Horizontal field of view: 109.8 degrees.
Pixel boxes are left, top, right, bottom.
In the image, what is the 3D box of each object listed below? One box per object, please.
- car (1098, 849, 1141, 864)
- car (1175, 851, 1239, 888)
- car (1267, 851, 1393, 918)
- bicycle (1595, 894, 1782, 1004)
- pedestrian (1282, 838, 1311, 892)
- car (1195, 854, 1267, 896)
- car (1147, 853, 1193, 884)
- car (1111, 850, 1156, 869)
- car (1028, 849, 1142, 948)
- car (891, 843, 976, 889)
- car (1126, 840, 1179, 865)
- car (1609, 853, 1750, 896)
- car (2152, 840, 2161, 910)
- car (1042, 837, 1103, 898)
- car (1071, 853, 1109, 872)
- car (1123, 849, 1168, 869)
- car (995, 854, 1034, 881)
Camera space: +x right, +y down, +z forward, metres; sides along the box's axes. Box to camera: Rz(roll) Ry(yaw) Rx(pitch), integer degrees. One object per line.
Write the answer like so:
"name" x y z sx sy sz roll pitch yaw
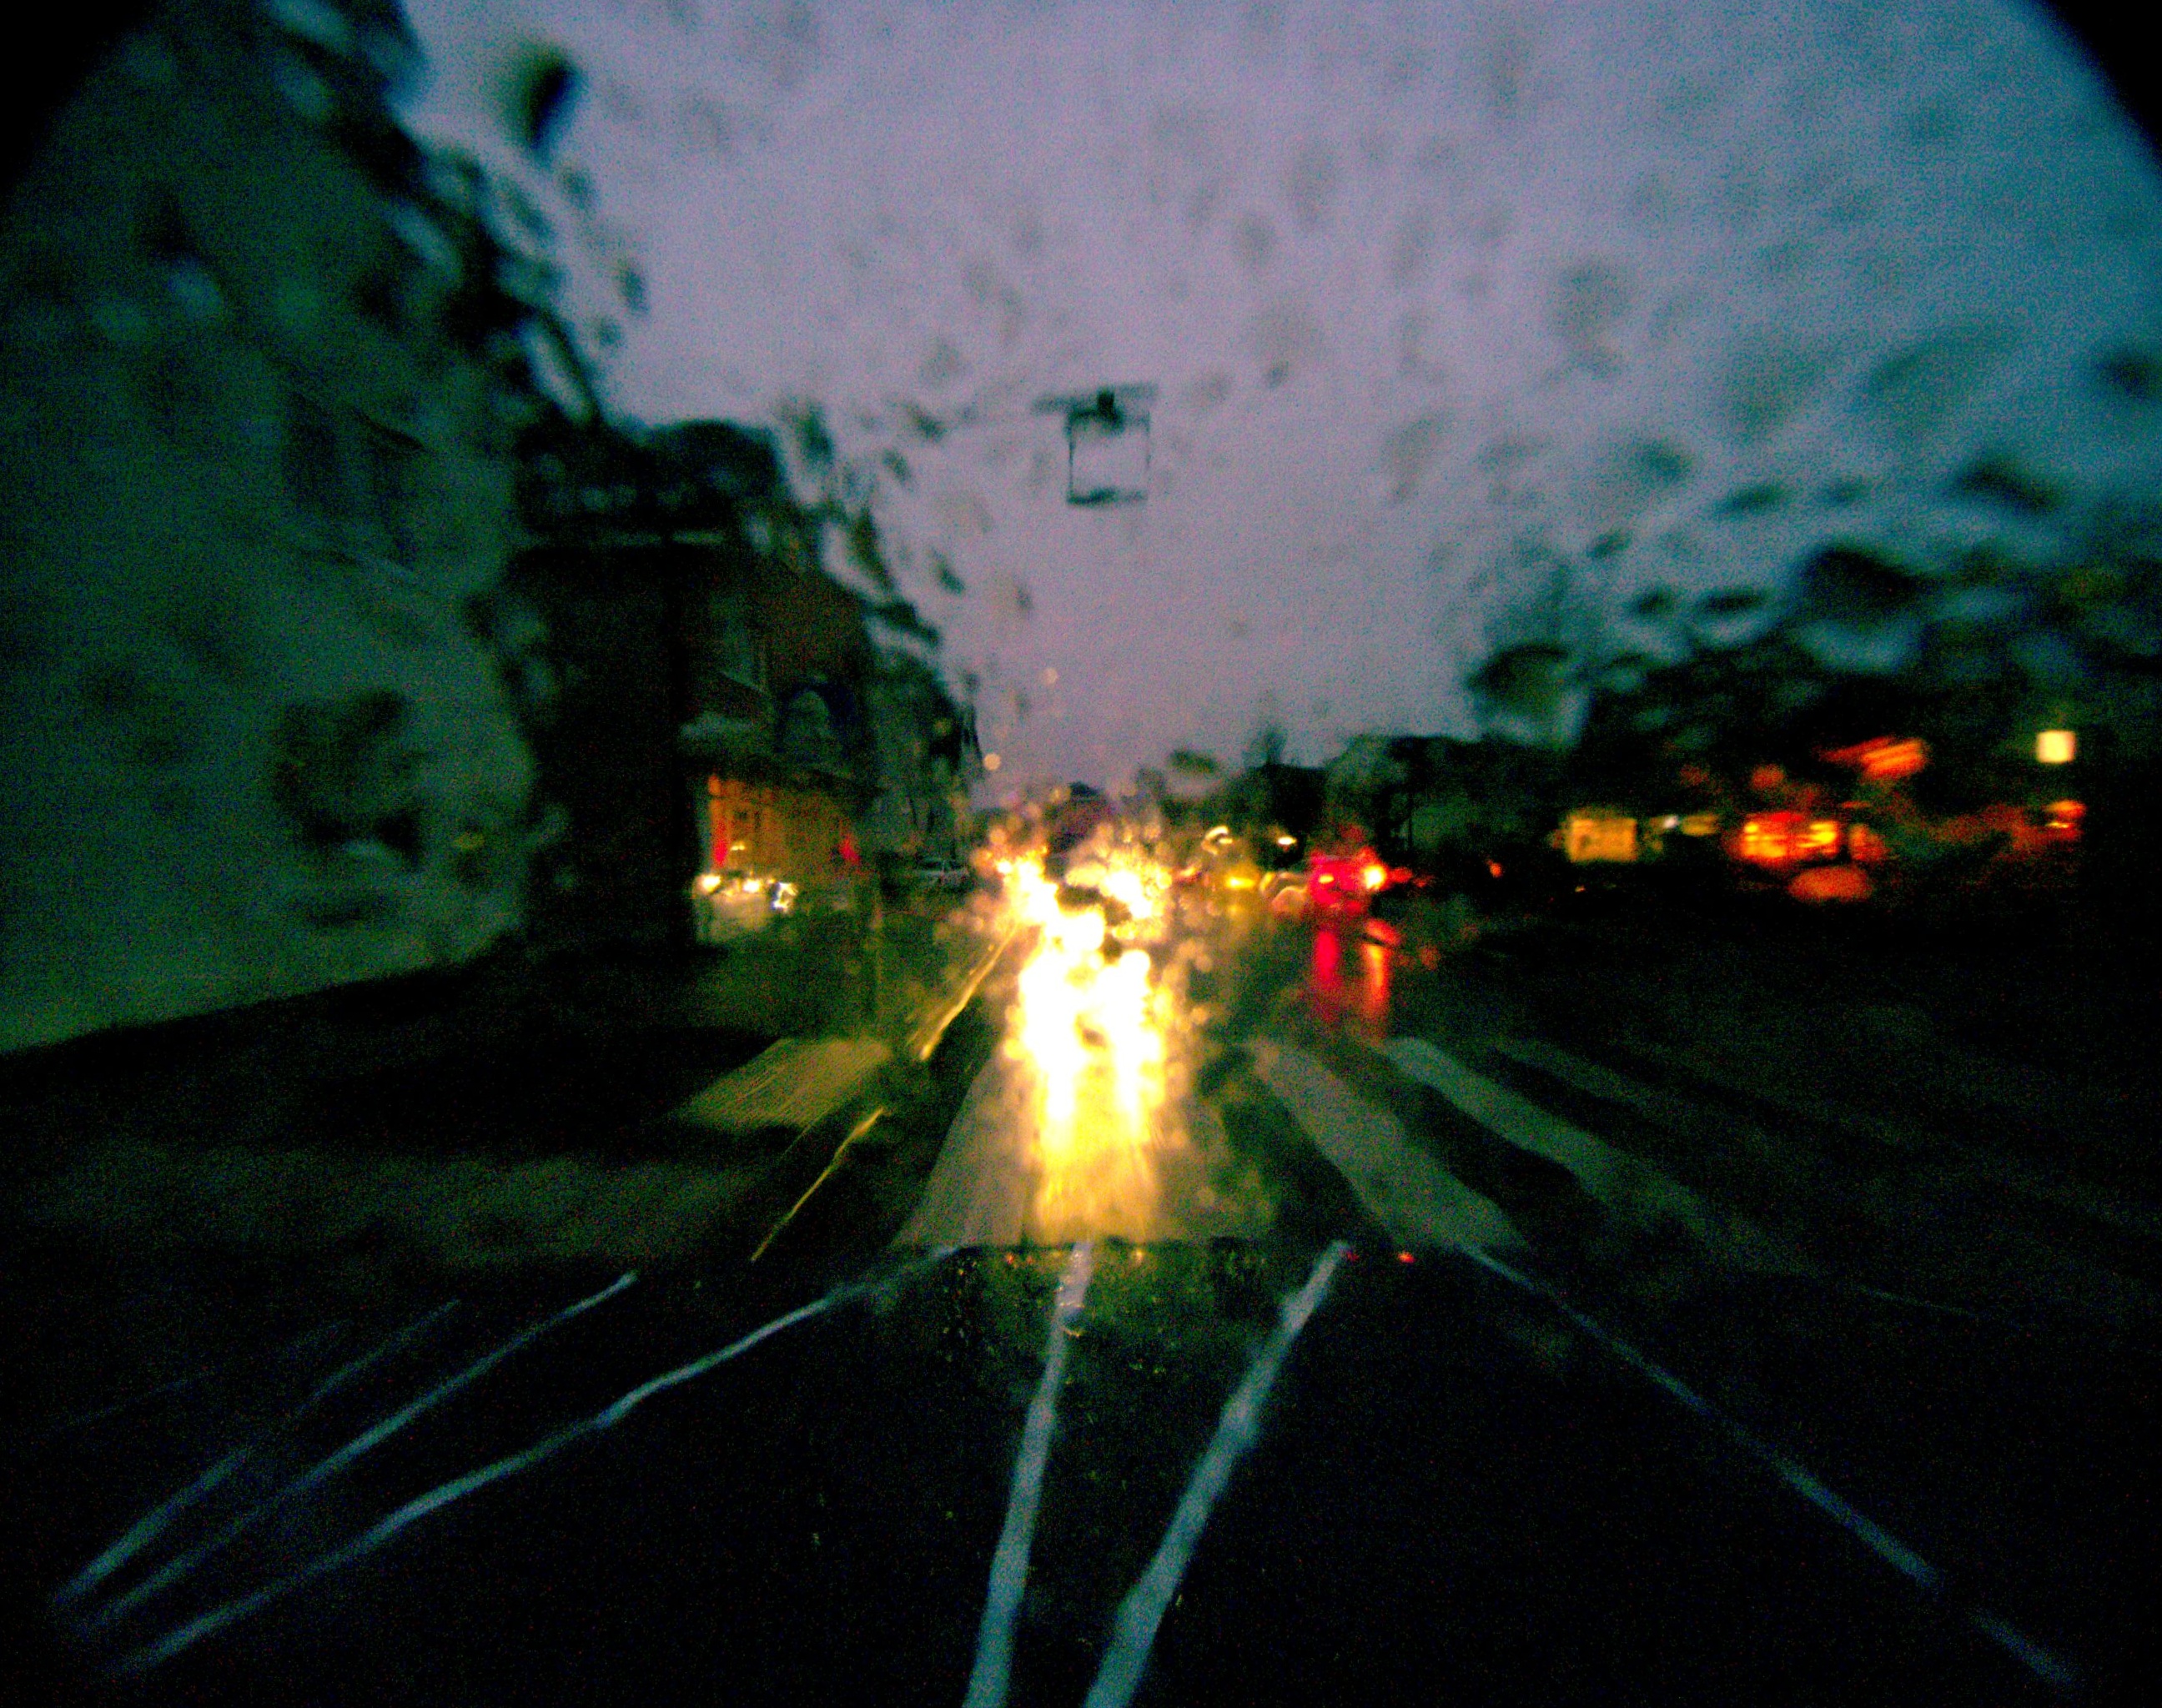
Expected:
"car" 3.647 0.252 72.500 3.996 1.291 2.000 -2 1 3
"car" 5.633 0.657 34.464 1.880 1.526 3.669 -2 1 -7
"car" 6.409 0.712 20.057 1.789 1.480 4.181 -2 1 -2
"bicycle" 6.722 1.011 8.520 0.325 1.055 1.742 4 -2 -16
"pedestrian" 8.177 0.430 28.880 0.902 2.002 0.791 -1 0 7
"car" 5.630 0.755 29.073 1.699 1.423 4.376 -2 0 -2
"car" 4.877 0.763 42.004 1.840 1.526 4.137 -2 1 -3
"car" 4.828 0.465 69.593 3.994 1.538 2.001 -2 1 8
"car" -0.013 0.793 15.763 1.999 1.720 3.999 -2 1 -3
"car" -5.755 0.403 30.278 1.934 1.477 4.696 -2 2 6
"car" 5.649 -0.106 59.737 3.994 1.753 1.434 -2 1 10
"car" 23.212 0.732 29.688 2.000 1.555 3.996 0 0 -10
"car" 30.317 0.549 19.389 4.001 1.833 1.998 0 1 -12
"car" -0.394 0.458 27.896 1.999 2.002 3.998 -2 1 -3
"car" 0.699 0.714 62.814 1.984 1.438 3.908 -3 0 -16
"car" 5.701 0.409 66.958 3.840 1.537 2.000 -2 1 5
"car" -5.071 0.988 57.523 2.002 1.844 3.993 -3 1 -19
